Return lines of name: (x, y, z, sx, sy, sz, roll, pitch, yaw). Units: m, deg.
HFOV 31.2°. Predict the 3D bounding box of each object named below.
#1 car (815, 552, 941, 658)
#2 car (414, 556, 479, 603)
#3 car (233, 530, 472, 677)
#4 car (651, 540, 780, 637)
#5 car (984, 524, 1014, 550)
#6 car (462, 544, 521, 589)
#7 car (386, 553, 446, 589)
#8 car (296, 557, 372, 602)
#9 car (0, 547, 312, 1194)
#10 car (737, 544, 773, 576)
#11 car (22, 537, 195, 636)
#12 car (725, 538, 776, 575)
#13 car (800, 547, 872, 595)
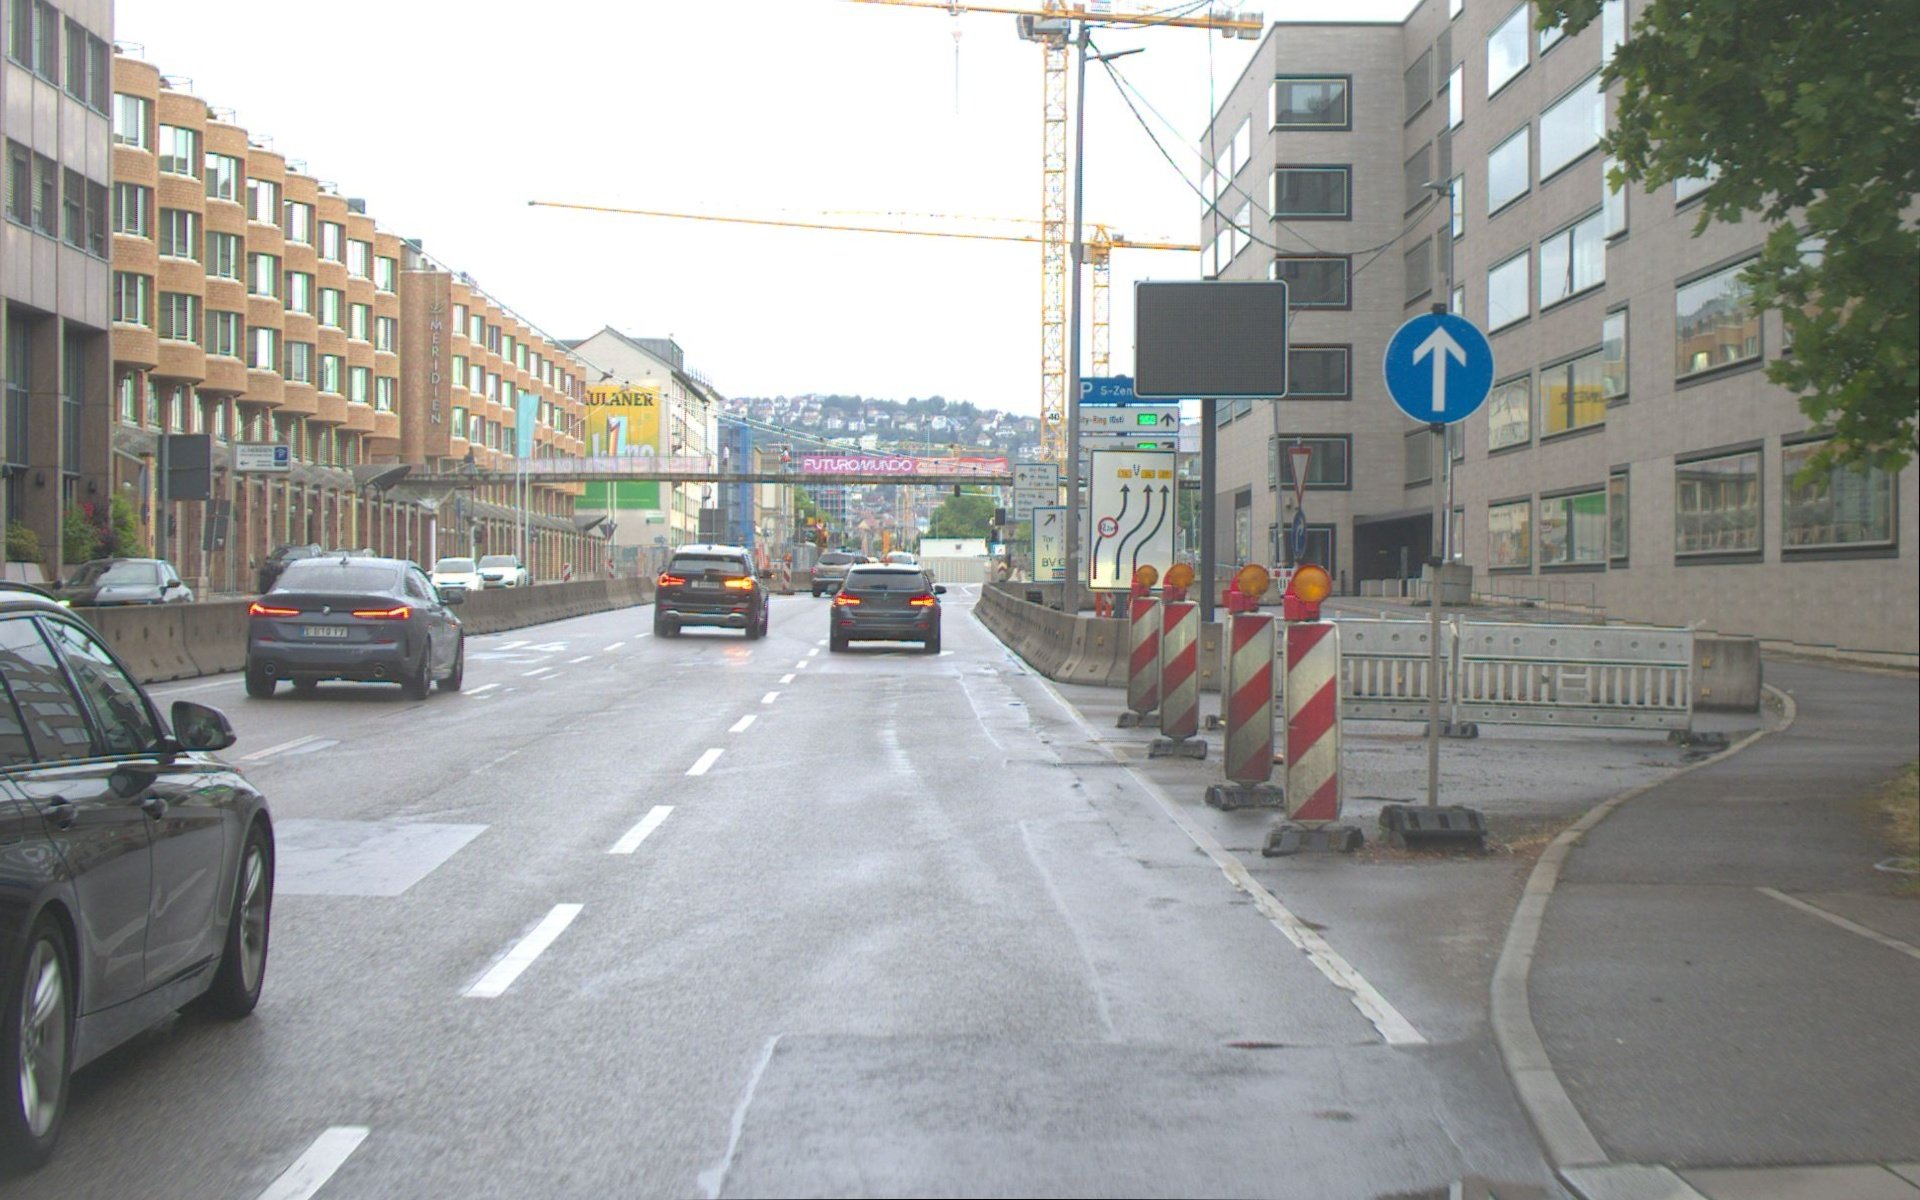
car: (-1.315, 0.060, 56.781, 1.900, 1.687, 4.000, 0, 0, 1)
car: (-16.676, -0.677, 111.794, 1.602, 1.437, 3.658, 0, 2, -1)
car: (-6.208, 0.014, 35.551, 1.790, 1.422, 4.385, 0, 0, -1)
car: (-4.406, -0.214, 62.381, 1.900, 1.687, 4.000, 0, 0, 2)
car: (2.621, -4.241, 230.336, 1.900, 1.687, 4.000, 0, 0, 2)
car: (-18.215, -1.311, 133.848, 1.820, 1.613, 4.192, 0, 2, -2)
car: (-24.828, -1.328, 157.023, 1.993, 1.614, 4.690, 0, 0, 0)
car: (-23.280, -0.762, 128.019, 1.993, 1.614, 4.763, 0, 0, 0)
car: (-3.057, 0.570, 9.359, 1.791, 1.421, 4.613, 1, 1, -1)
car: (-12.904, -2.523, 216.781, 1.993, 2.007, 4.000, 0, 0, 1)
car: (-13.658, -0.229, 55.371, 1.860, 1.528, 4.231, 0, 0, -2)
car: (-9.383, -1.940, 154.254, 1.993, 1.614, 4.763, 0, 0, 0)
car: (-4.450, -1.052, 124.271, 1.900, 1.687, 3.999, 0, 0, 9)
